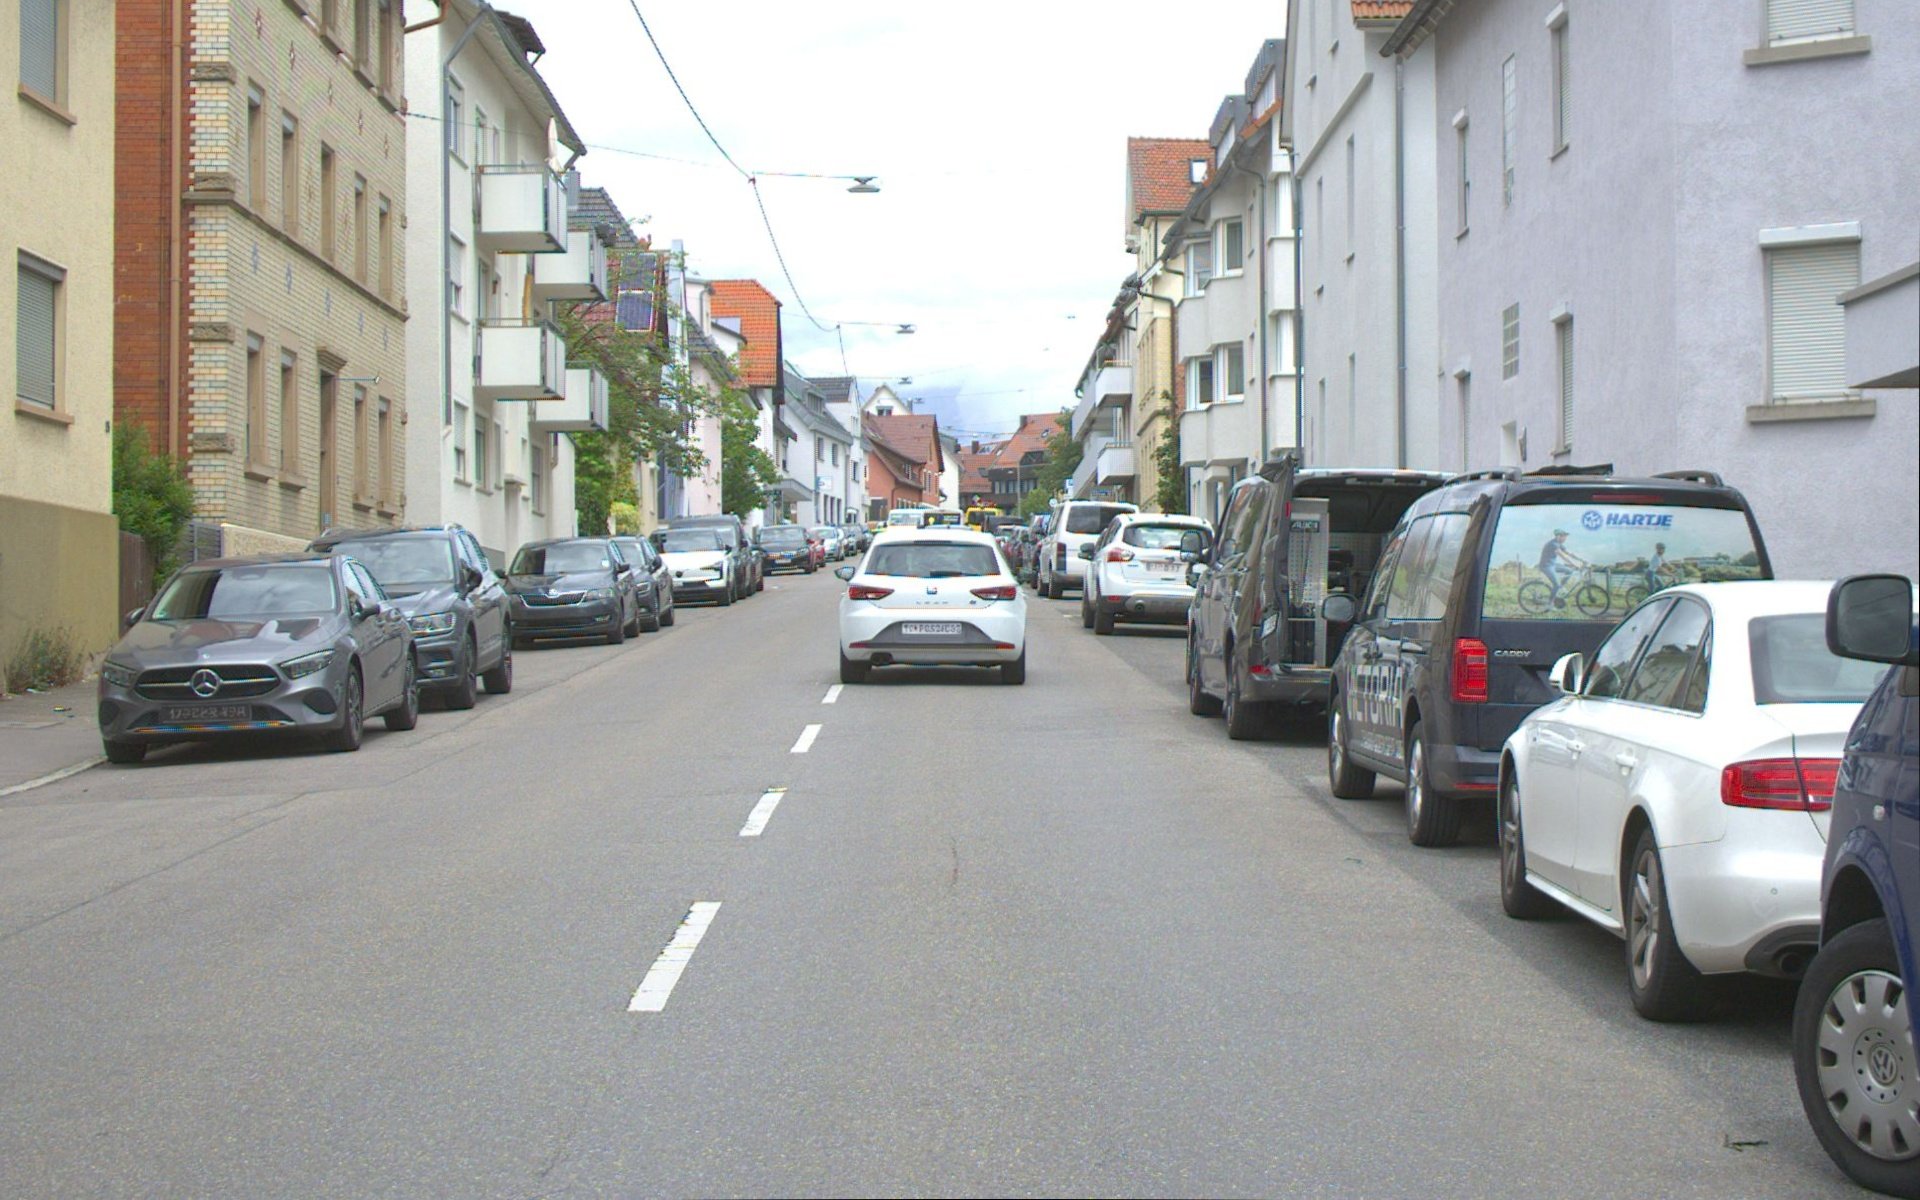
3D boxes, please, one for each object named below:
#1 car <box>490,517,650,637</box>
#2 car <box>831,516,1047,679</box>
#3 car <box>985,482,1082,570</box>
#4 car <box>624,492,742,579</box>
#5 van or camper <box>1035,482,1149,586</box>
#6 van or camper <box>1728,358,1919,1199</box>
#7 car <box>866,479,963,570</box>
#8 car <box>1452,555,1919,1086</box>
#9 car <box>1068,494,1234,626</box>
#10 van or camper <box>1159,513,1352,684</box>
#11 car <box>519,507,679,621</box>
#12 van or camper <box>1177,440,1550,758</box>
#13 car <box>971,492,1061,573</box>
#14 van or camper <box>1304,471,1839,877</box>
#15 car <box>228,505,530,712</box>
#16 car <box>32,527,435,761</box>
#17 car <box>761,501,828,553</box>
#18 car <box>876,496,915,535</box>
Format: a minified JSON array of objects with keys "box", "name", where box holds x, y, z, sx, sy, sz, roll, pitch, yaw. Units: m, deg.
[{"box":[-5.265,-0.350,46.846,1.642,1.468,4.179,-3,2,0],"name":"car"},{"box":[-0.215,-0.069,33.197,1.940,1.434,4.001,1,2,-1],"name":"car"},{"box":[1.703,-1.768,80.945,1.993,2.006,4.001,0,2,-3],"name":"car"},{"box":[-5.405,-1.291,67.538,1.993,1.645,4.000,0,2,0],"name":"car"},{"box":[2.668,-1.375,70.336,1.940,2.047,4.564,1,2,-2],"name":"van or camper"},{"box":[3.000,0.485,6.438,1.926,1.919,4.831,1,2,-1],"name":"van or camper"},{"box":[-1.076,-1.765,79.728,2.152,2.007,4.000,1,1,-1],"name":"car"},{"box":[2.979,0.614,12.112,1.714,1.431,4.640,2,2,-1],"name":"car"},{"box":[2.633,-0.600,48.246,1.940,1.687,4.001,2,2,-2],"name":"car"},{"box":[2.920,-0.064,34.637,1.602,1.538,4.000,2,2,1],"name":"van or camper"},{"box":[-5.386,-0.574,51.690,1.993,1.645,4.000,0,2,0],"name":"car"},{"box":[2.863,-0.091,25.804,1.993,2.058,5.945,2,2,-1],"name":"van or camper"},{"box":[1.385,-1.735,87.269,1.993,2.006,4.001,0,2,-3],"name":"car"},{"box":[3.073,0.277,18.296,1.871,1.822,4.681,2,2,-1],"name":"van or camper"},{"box":[-5.220,0.010,31.490,1.993,1.645,4.554,-3,2,-1],"name":"car"},{"box":[-5.324,0.258,25.770,1.993,1.467,4.244,-3,2,1],"name":"car"},{"box":[-5.334,-2.365,111.246,1.993,1.645,4.179,0,2,0],"name":"car"},{"box":[-3.403,-4.488,182.338,1.993,2.006,4.000,0,2,0],"name":"car"}]
